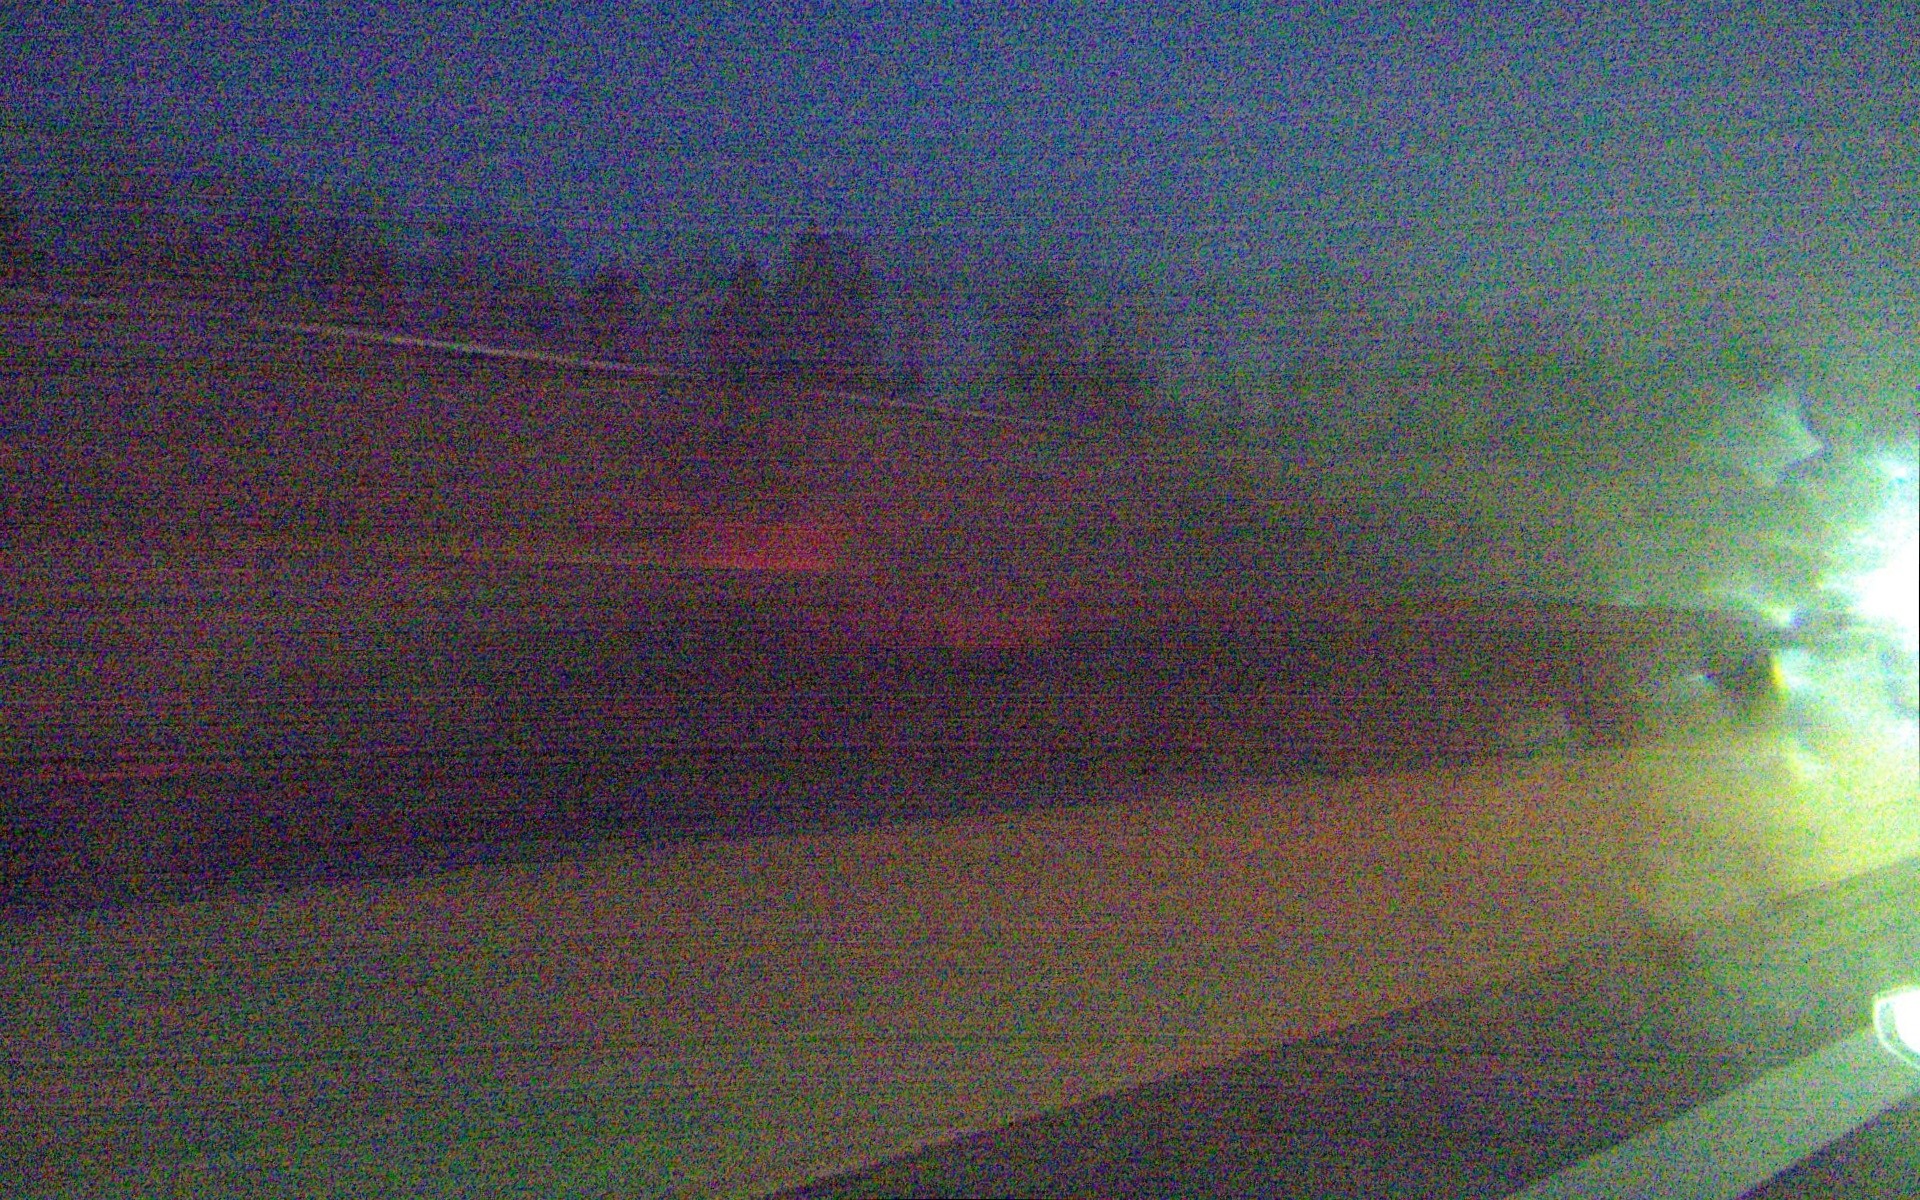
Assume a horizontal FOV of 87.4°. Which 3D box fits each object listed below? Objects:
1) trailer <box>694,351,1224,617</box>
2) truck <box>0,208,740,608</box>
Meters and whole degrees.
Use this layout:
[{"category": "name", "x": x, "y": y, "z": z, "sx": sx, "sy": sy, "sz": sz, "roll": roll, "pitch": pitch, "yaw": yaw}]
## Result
[{"category": "trailer", "x": 0.272, "y": -1.790, "z": 18.182, "sx": 9.394, "sy": 3.800, "sz": 2.911, "roll": 0, "pitch": 5, "yaw": -32}, {"category": "truck", "x": -8.434, "y": -2.081, "z": 12.911, "sx": 10.524, "sy": 4.092, "sz": 2.933, "roll": 0, "pitch": 5, "yaw": -30}]
